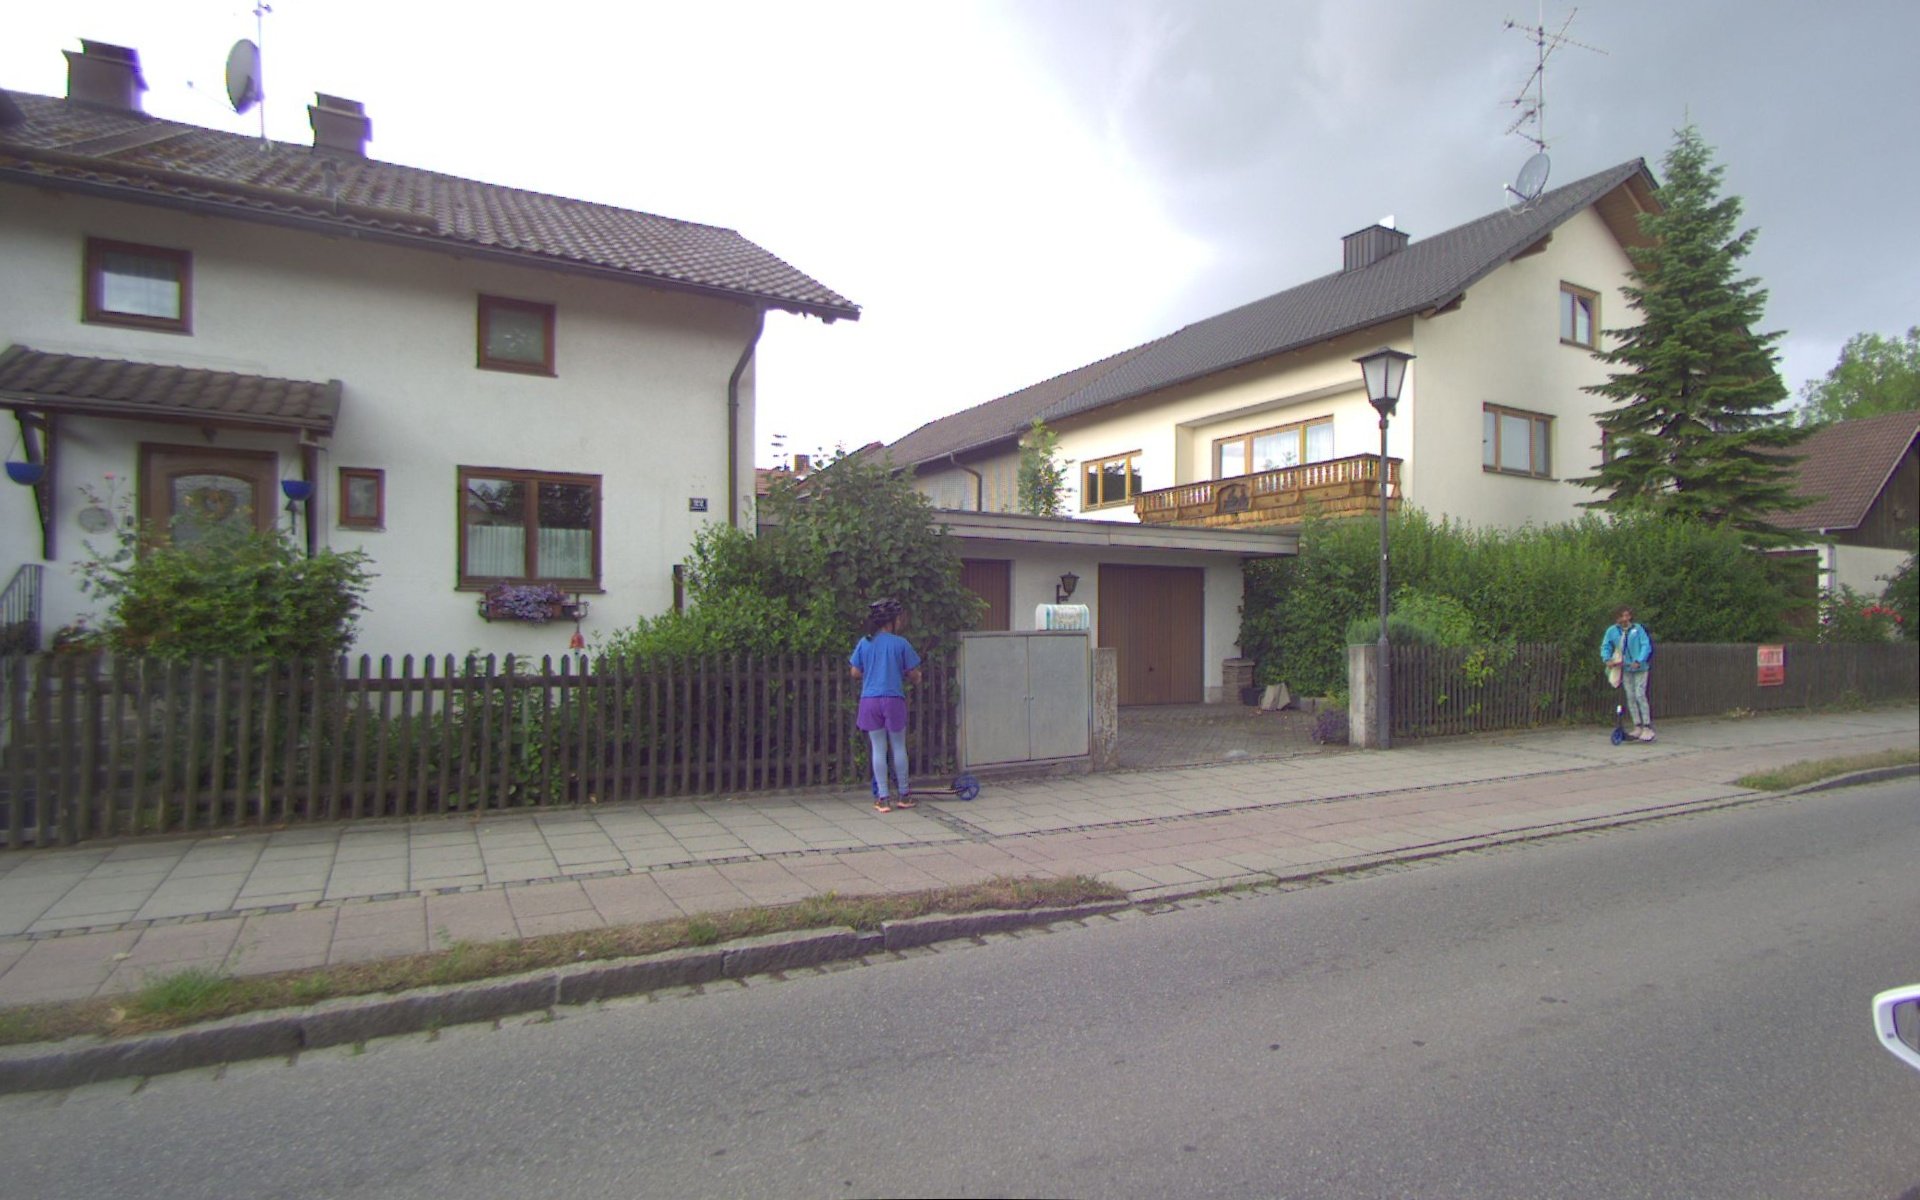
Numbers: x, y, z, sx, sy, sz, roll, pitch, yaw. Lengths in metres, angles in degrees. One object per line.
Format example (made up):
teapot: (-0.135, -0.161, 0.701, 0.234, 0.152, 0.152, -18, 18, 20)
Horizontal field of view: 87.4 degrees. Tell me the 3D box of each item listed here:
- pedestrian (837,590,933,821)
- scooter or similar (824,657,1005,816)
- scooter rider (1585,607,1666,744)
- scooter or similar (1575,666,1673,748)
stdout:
pedestrian: (-0.537, 0.716, 7.114, 0.482, 1.549, 0.530, 1, 0, -28)
scooter or similar: (-0.334, 0.962, 7.431, 1.164, 1.051, 0.658, 1, -1, -29)
scooter rider: (7.610, 0.844, 11.486, 0.707, 1.509, 0.500, 1, 0, -29)
scooter or similar: (7.602, 1.202, 11.496, 1.049, 0.861, 0.519, 1, 0, -29)
